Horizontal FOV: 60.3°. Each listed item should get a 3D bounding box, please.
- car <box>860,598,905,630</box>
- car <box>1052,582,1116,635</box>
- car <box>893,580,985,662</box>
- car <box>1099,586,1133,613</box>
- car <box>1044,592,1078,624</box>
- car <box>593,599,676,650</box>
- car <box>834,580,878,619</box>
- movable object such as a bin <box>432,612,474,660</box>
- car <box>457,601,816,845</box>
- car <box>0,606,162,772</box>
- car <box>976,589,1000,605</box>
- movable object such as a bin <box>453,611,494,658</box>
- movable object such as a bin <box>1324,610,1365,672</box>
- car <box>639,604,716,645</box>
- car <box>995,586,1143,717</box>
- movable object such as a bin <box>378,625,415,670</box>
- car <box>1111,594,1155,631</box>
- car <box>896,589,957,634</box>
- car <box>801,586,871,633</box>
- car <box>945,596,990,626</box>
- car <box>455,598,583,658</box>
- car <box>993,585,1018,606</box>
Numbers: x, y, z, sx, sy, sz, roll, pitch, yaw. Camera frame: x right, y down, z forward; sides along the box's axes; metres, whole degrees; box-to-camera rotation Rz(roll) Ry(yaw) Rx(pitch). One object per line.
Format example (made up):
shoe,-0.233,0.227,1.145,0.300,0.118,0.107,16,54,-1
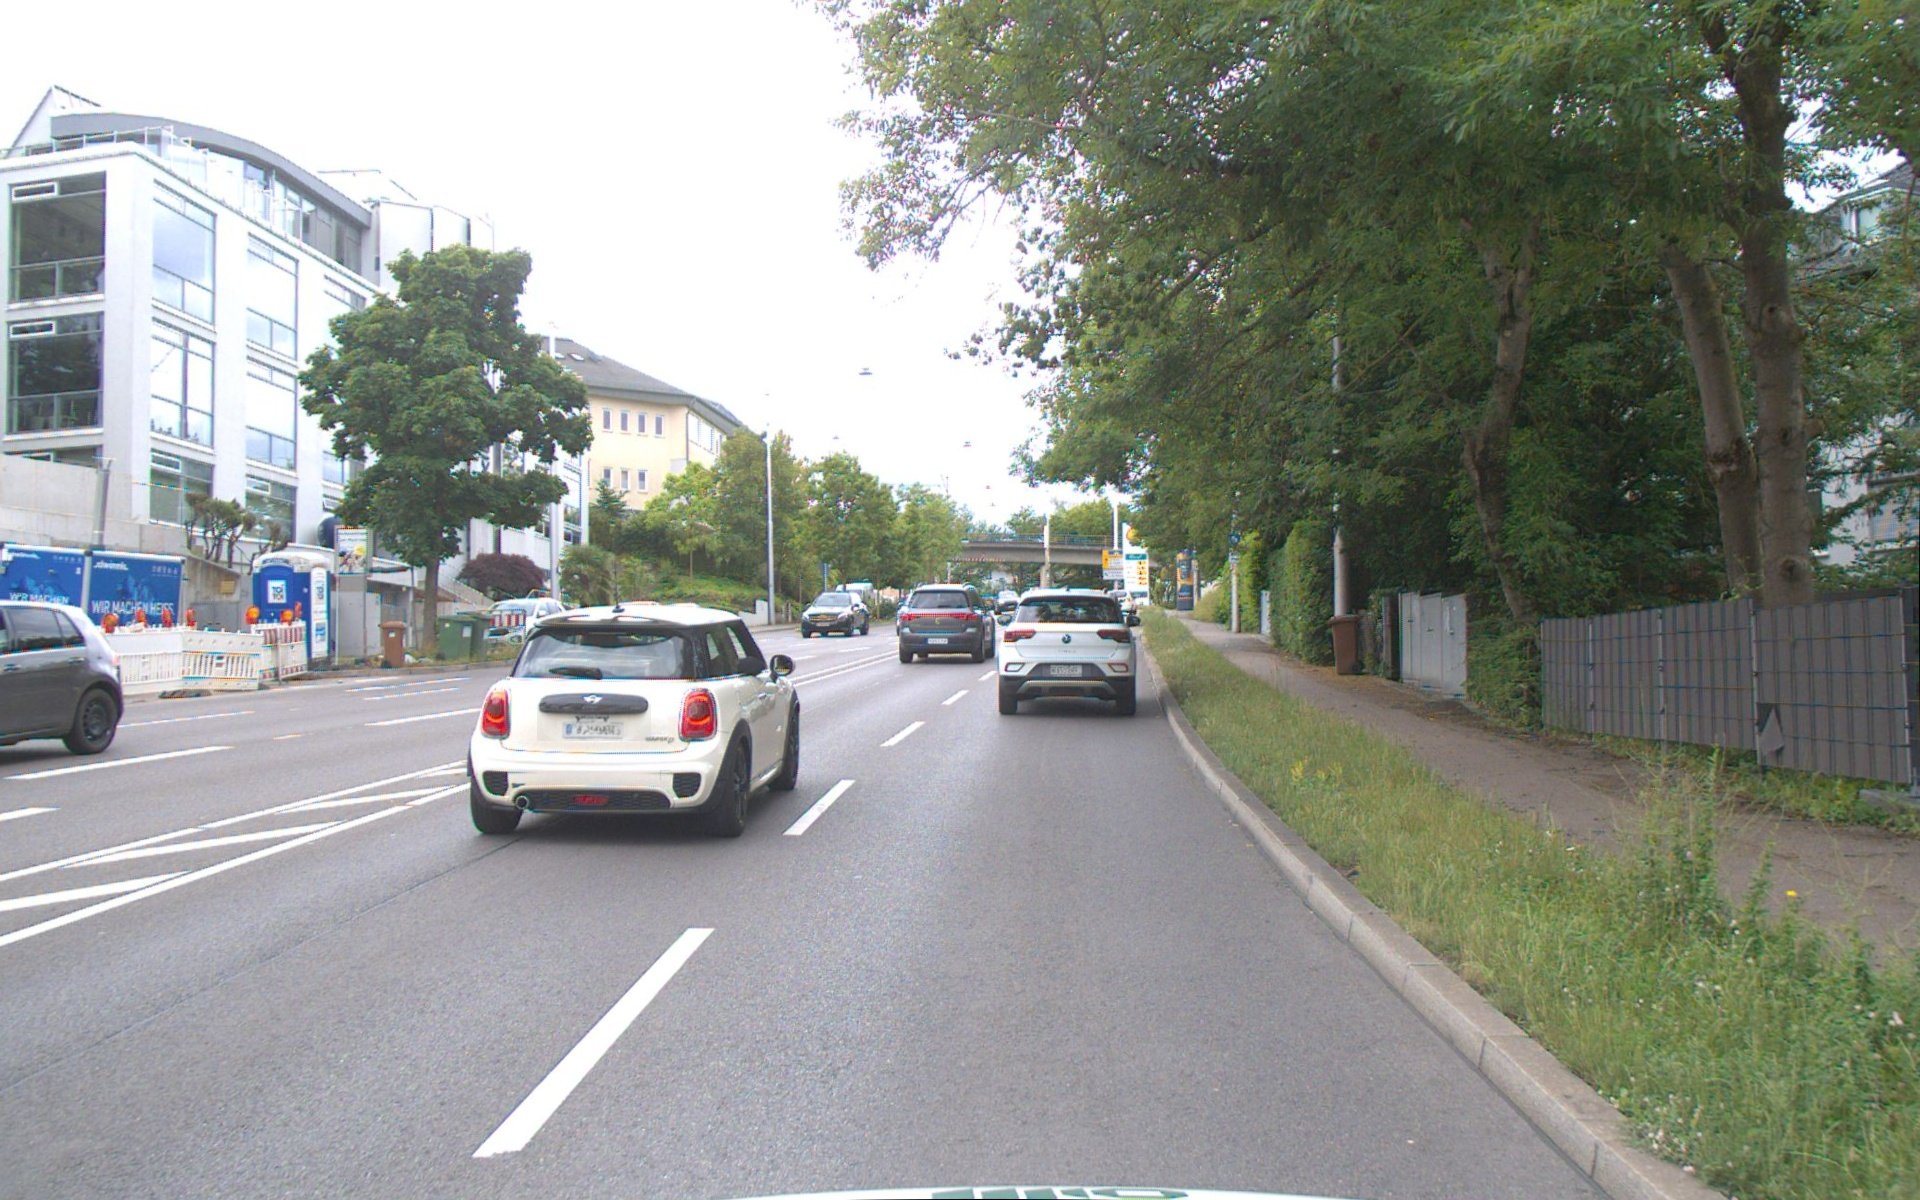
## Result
car,-4.257,0.744,91.298,2.025,1.685,4.694,0,0,3
car,3.902,0.295,52.672,1.834,1.527,4.556,3,-1,2
car,-0.537,0.432,36.753,1.777,1.681,4.632,-1,0,-4
car,9.233,-0.037,98.230,1.819,1.527,4.057,-1,0,3
car,5.548,0.428,90.645,1.819,1.681,4.638,-1,0,4
car,-10.980,0.794,56.045,1.733,1.662,3.918,0,0,5
car,-6.585,-0.028,105.174,2.025,2.346,5.468,0,0,5
movable object such as a bin,-11.033,0.779,35.990,0.631,1.033,0.660,0,0,14
car,-2.076,0.731,11.569,1.594,1.418,3.568,-1,0,4
car,-9.130,0.779,14.497,1.804,1.418,4.287,0,0,7
car,2.621,-0.276,157.021,1.822,1.527,4.050,-1,0,-6
movable object such as a bin,-10.766,0.761,36.616,0.631,1.007,0.660,0,0,14
movable object such as a bin,6.140,0.651,26.414,0.543,0.964,0.567,0,0,2
car,-10.482,0.892,61.720,1.733,1.432,4.145,0,0,7
car,1.447,0.622,21.973,1.773,1.566,3.691,-1,0,4
movable object such as a bin,-11.481,0.968,33.712,0.650,0.895,0.642,0,0,-26
car,7.857,0.602,75.400,1.834,1.527,4.557,3,-1,5
car,-1.226,0.419,62.585,1.733,1.624,5.187,0,0,5
car,-4.607,0.345,61.846,1.733,1.662,4.146,0,0,8
car,0.376,0.530,79.366,1.704,1.376,4.849,0,0,6
car,-11.681,0.709,44.090,1.733,1.525,4.308,0,0,8
car,3.543,-0.334,127.481,1.856,1.569,4.694,0,0,3
